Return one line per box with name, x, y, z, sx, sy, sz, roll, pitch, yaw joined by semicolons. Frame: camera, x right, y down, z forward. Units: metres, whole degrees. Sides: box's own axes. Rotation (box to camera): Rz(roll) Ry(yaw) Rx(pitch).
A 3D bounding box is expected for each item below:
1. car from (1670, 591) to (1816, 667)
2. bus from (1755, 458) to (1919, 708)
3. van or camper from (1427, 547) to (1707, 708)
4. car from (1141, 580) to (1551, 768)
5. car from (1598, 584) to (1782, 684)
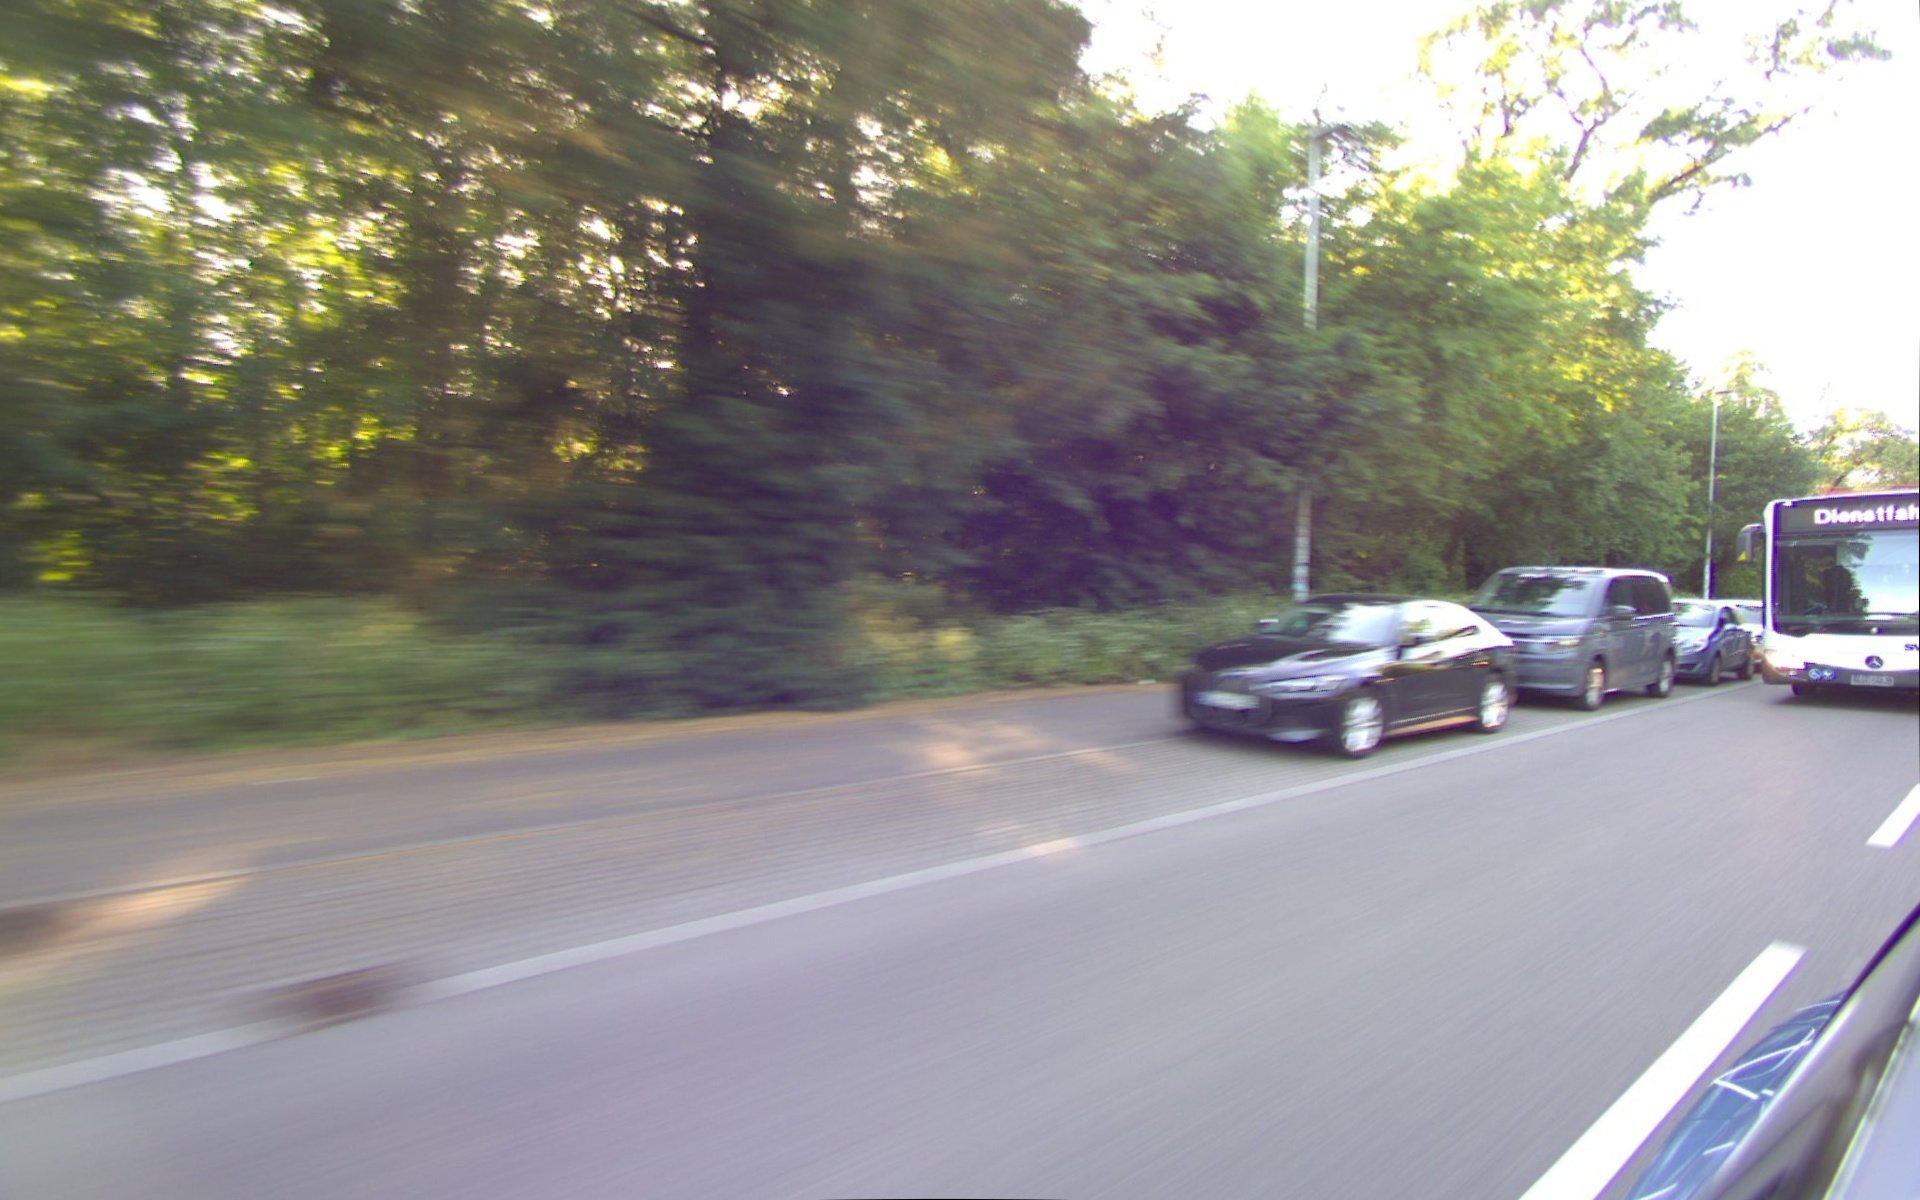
car;17.058;0.561;21.985;4.029;1.459;1.731;0;2;-41
bus;16.757;-0.238;17.565;12.069;3.262;2.708;0;1;-43
van or camper;8.962;0.304;14.742;5.042;1.972;1.897;0;2;-40
car;4.217;0.605;10.606;4.869;1.459;1.843;0;3;-40
car;13.455;0.549;18.577;4.142;1.562;1.732;0;3;-40
